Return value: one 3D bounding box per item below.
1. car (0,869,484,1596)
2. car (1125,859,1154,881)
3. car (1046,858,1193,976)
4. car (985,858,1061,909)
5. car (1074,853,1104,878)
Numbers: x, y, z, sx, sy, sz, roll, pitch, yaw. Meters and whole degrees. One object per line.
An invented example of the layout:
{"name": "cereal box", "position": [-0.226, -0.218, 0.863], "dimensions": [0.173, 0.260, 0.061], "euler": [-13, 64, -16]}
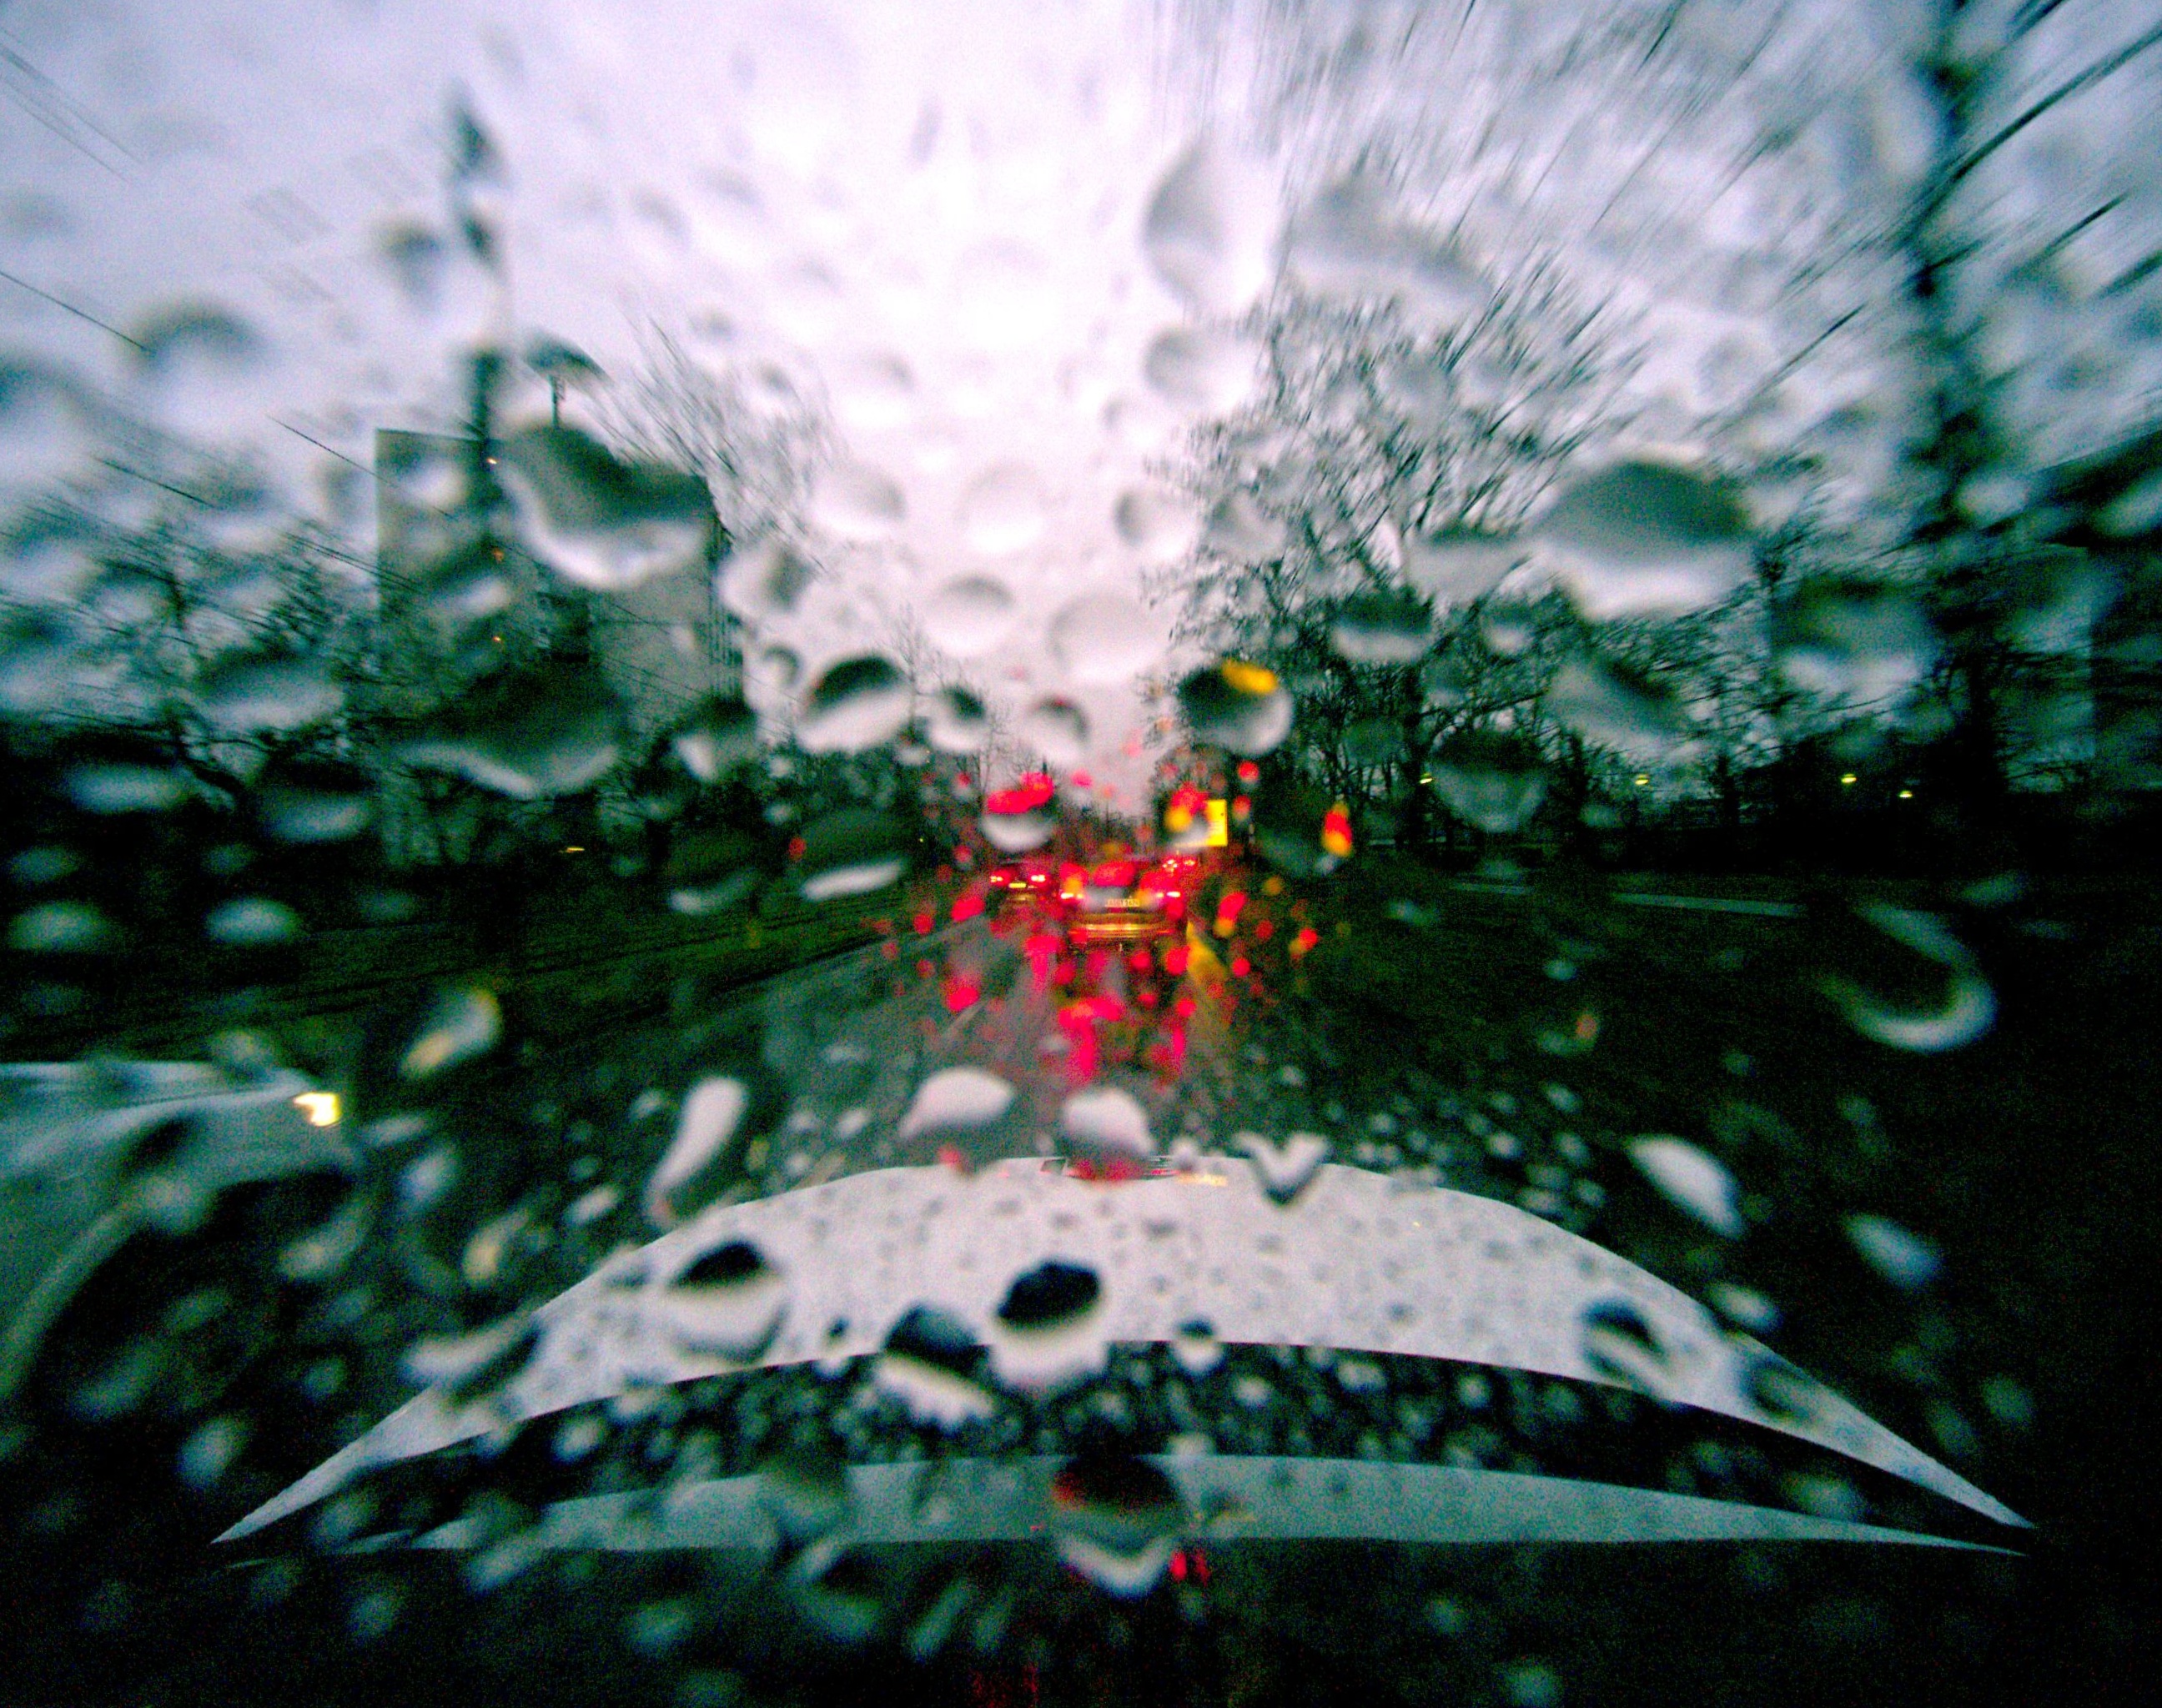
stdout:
{"name": "car", "position": [-3.187, 0.818, 0.994], "dimensions": [1.702, 1.525, 4.137], "euler": [-2, -1, 3]}
{"name": "car", "position": [4.431, 1.166, 61.214], "dimensions": [1.698, 1.558, 4.006], "euler": [-2, -1, 9]}
{"name": "car", "position": [0.521, 0.867, 13.186], "dimensions": [1.992, 1.584, 3.999], "euler": [-1, 0, -1]}
{"name": "car", "position": [-1.807, 0.909, 26.573], "dimensions": [1.872, 1.459, 4.004], "euler": [-2, 0, 4]}
{"name": "car", "position": [0.564, 0.778, 55.658], "dimensions": [1.872, 1.594, 4.003], "euler": [-2, 0, 3]}
